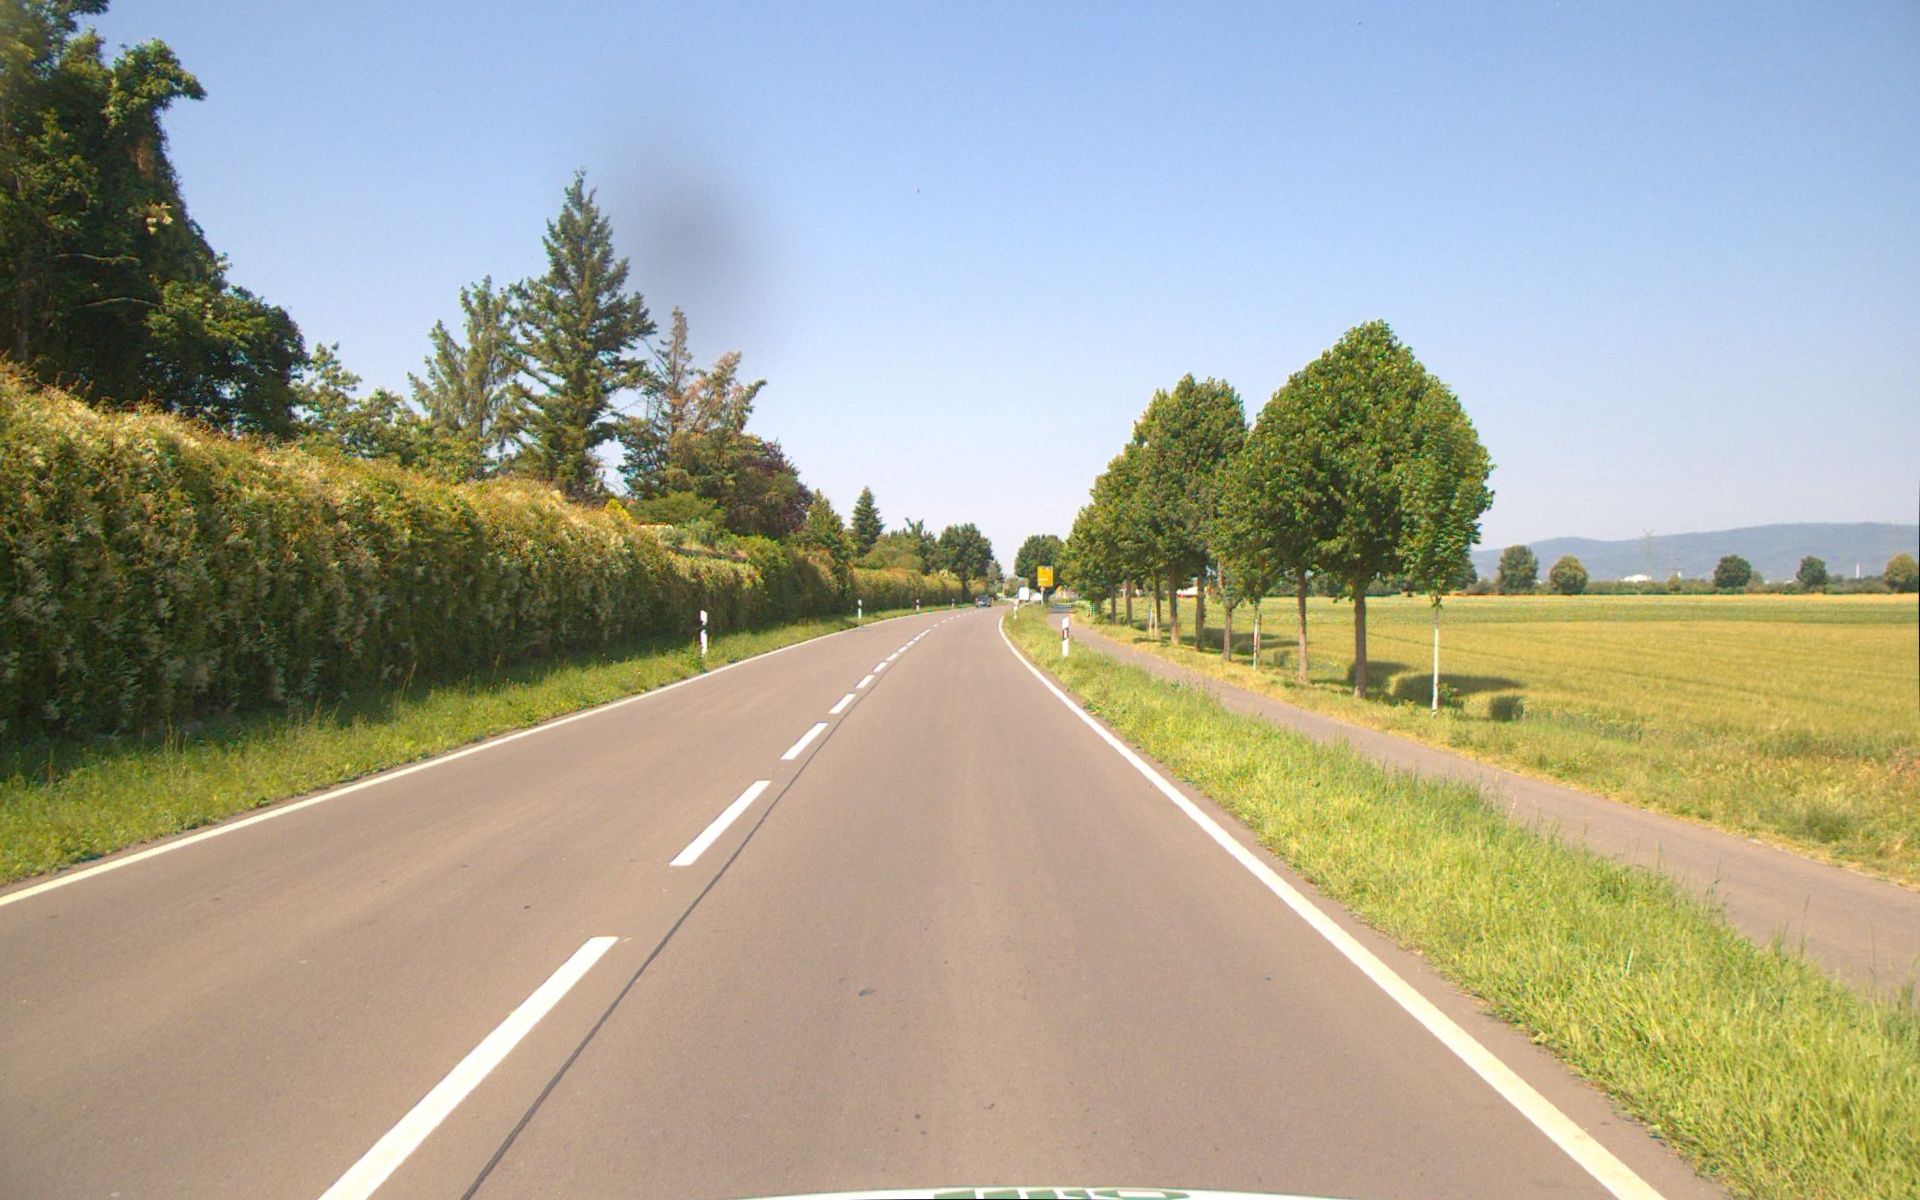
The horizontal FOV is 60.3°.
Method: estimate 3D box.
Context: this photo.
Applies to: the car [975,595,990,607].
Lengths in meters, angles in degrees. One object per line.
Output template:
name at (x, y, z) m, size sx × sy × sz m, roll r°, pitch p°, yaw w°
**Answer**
car at (2.849, 0.165, 206.779) m, size 1.802 × 1.493 × 3.933 m, roll 0°, pitch 0°, yaw 0°
